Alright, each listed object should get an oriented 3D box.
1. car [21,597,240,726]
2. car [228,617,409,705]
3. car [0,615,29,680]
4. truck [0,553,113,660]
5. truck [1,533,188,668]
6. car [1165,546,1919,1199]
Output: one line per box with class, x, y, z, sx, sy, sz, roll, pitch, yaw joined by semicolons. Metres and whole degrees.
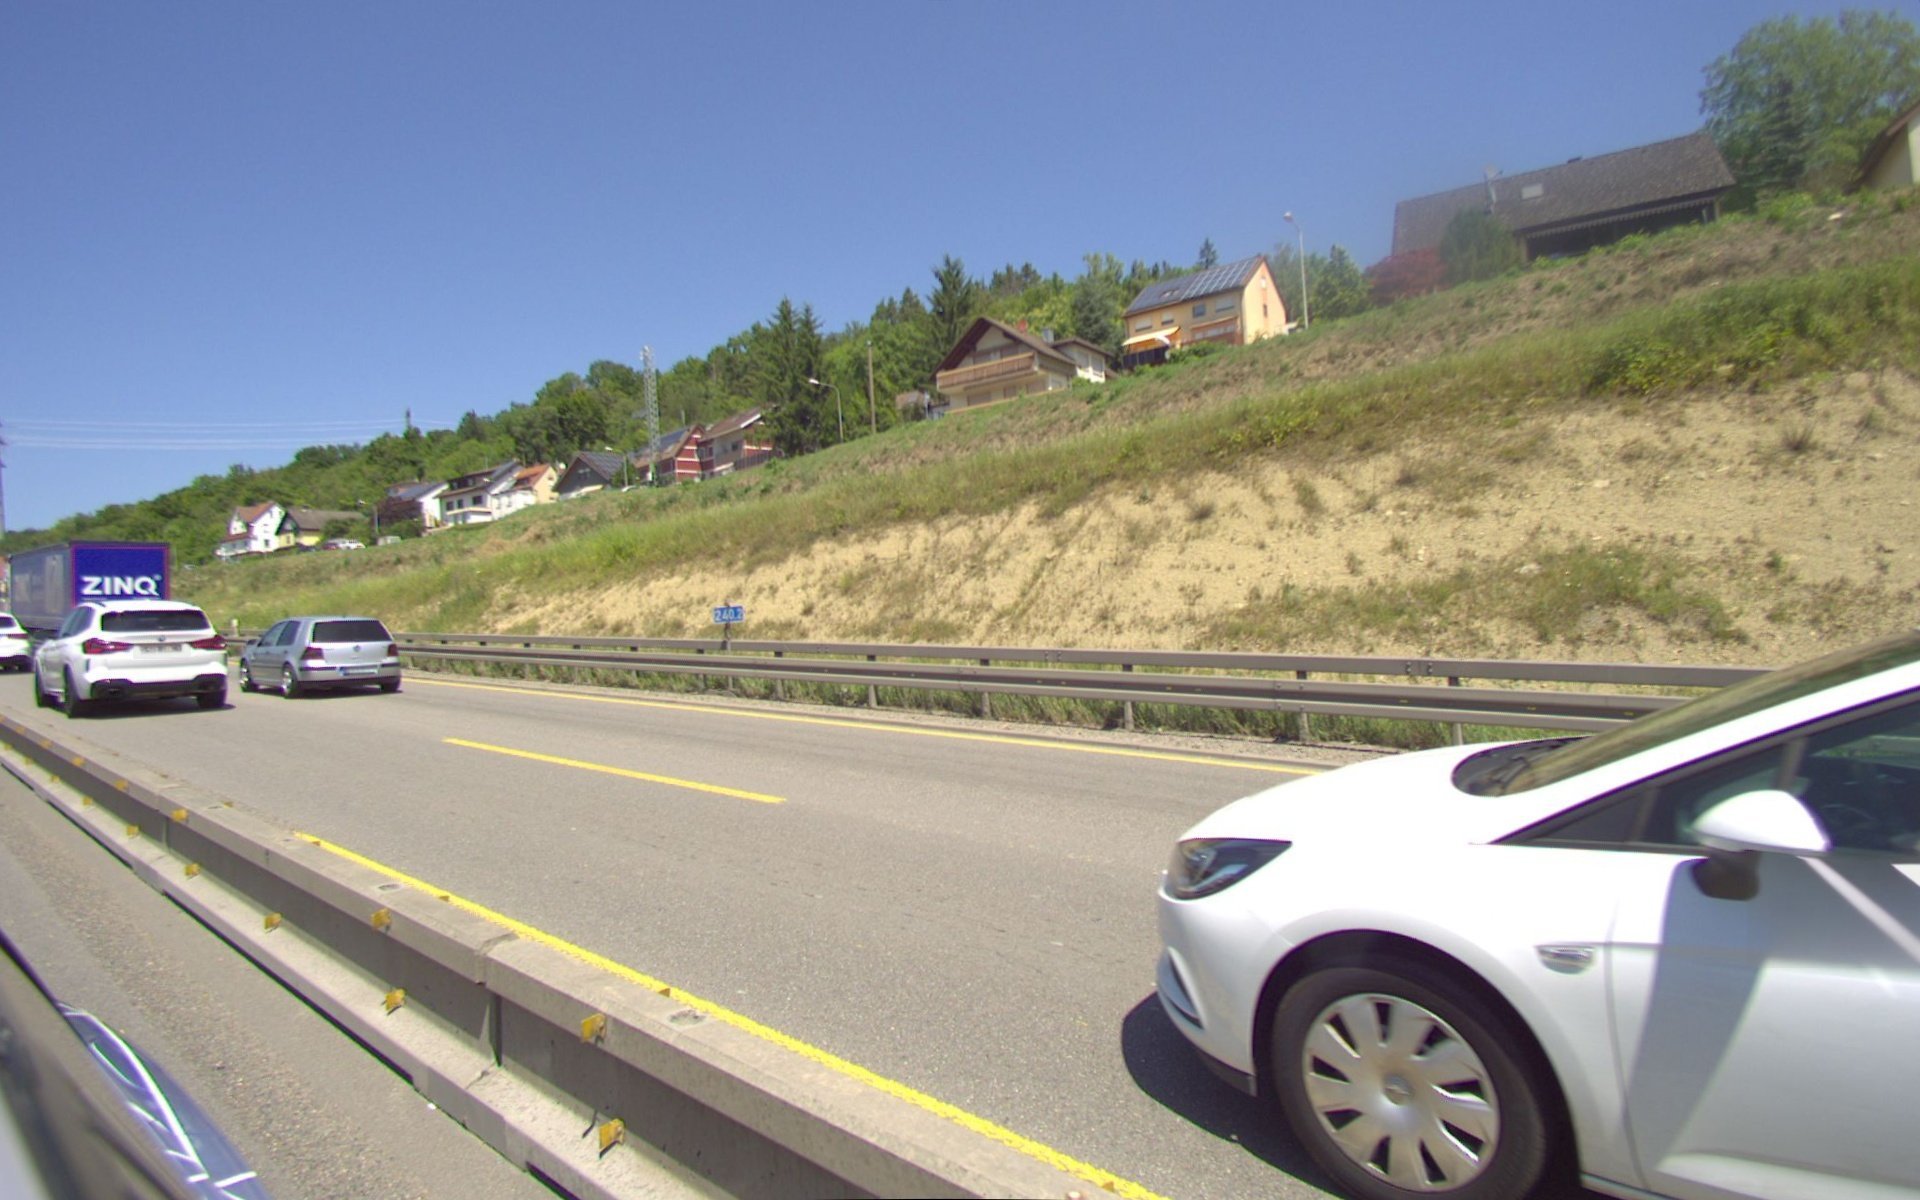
car;-13.069;0.871;15.839;4.558;1.721;1.872;-1;0;40
car;-11.758;1.035;18.448;3.964;1.389;1.684;-1;0;40
car;-26.313;1.250;26.912;4.359;1.650;1.794;-1;-1;40
truck;-37.759;0.269;42.132;4.244;4.191;3.206;-1;-1;41
truck;-32.283;0.124;37.387;13.970;4.191;3.210;-1;-1;41
car;2.738;0.631;1.904;4.277;1.488;1.788;-1;0;40
